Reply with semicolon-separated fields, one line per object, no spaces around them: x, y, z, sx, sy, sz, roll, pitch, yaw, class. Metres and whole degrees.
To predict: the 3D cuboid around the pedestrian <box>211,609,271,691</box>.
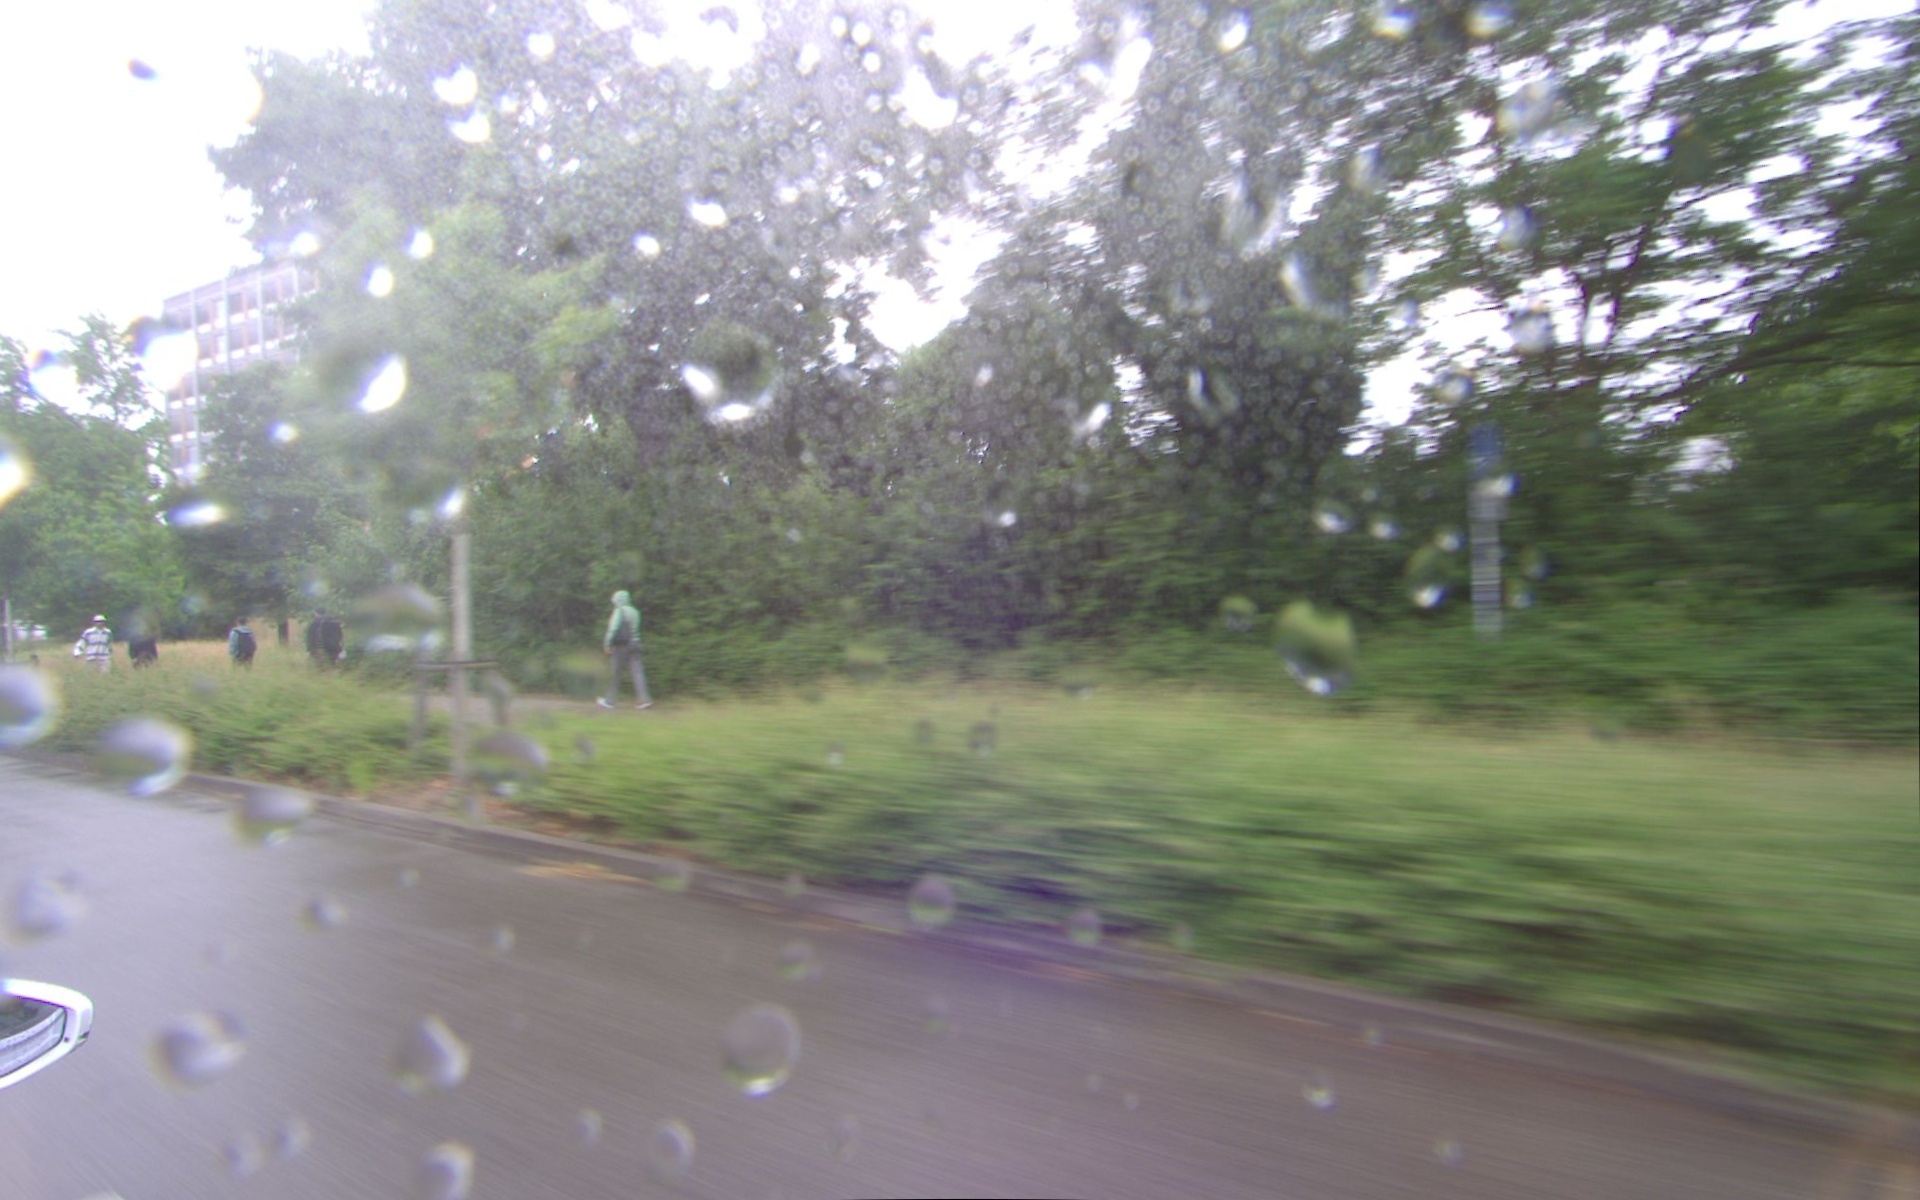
-16.615;1.136;23.134;0.819;1.820;0.929;-1;0;39;pedestrian

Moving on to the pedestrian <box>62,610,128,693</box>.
-19.057;1.118;22.056;0.818;1.744;0.930;2;1;37;pedestrian

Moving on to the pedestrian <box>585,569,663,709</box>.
-5.094;0.583;15.203;0.819;2.040;0.787;-1;0;39;pedestrian

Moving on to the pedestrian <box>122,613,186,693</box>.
-18.216;1.189;22.640;0.818;1.726;0.930;2;1;37;pedestrian

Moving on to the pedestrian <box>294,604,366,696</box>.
-12.651;0.982;20.107;1.033;1.770;0.929;-1;0;39;pedestrian
